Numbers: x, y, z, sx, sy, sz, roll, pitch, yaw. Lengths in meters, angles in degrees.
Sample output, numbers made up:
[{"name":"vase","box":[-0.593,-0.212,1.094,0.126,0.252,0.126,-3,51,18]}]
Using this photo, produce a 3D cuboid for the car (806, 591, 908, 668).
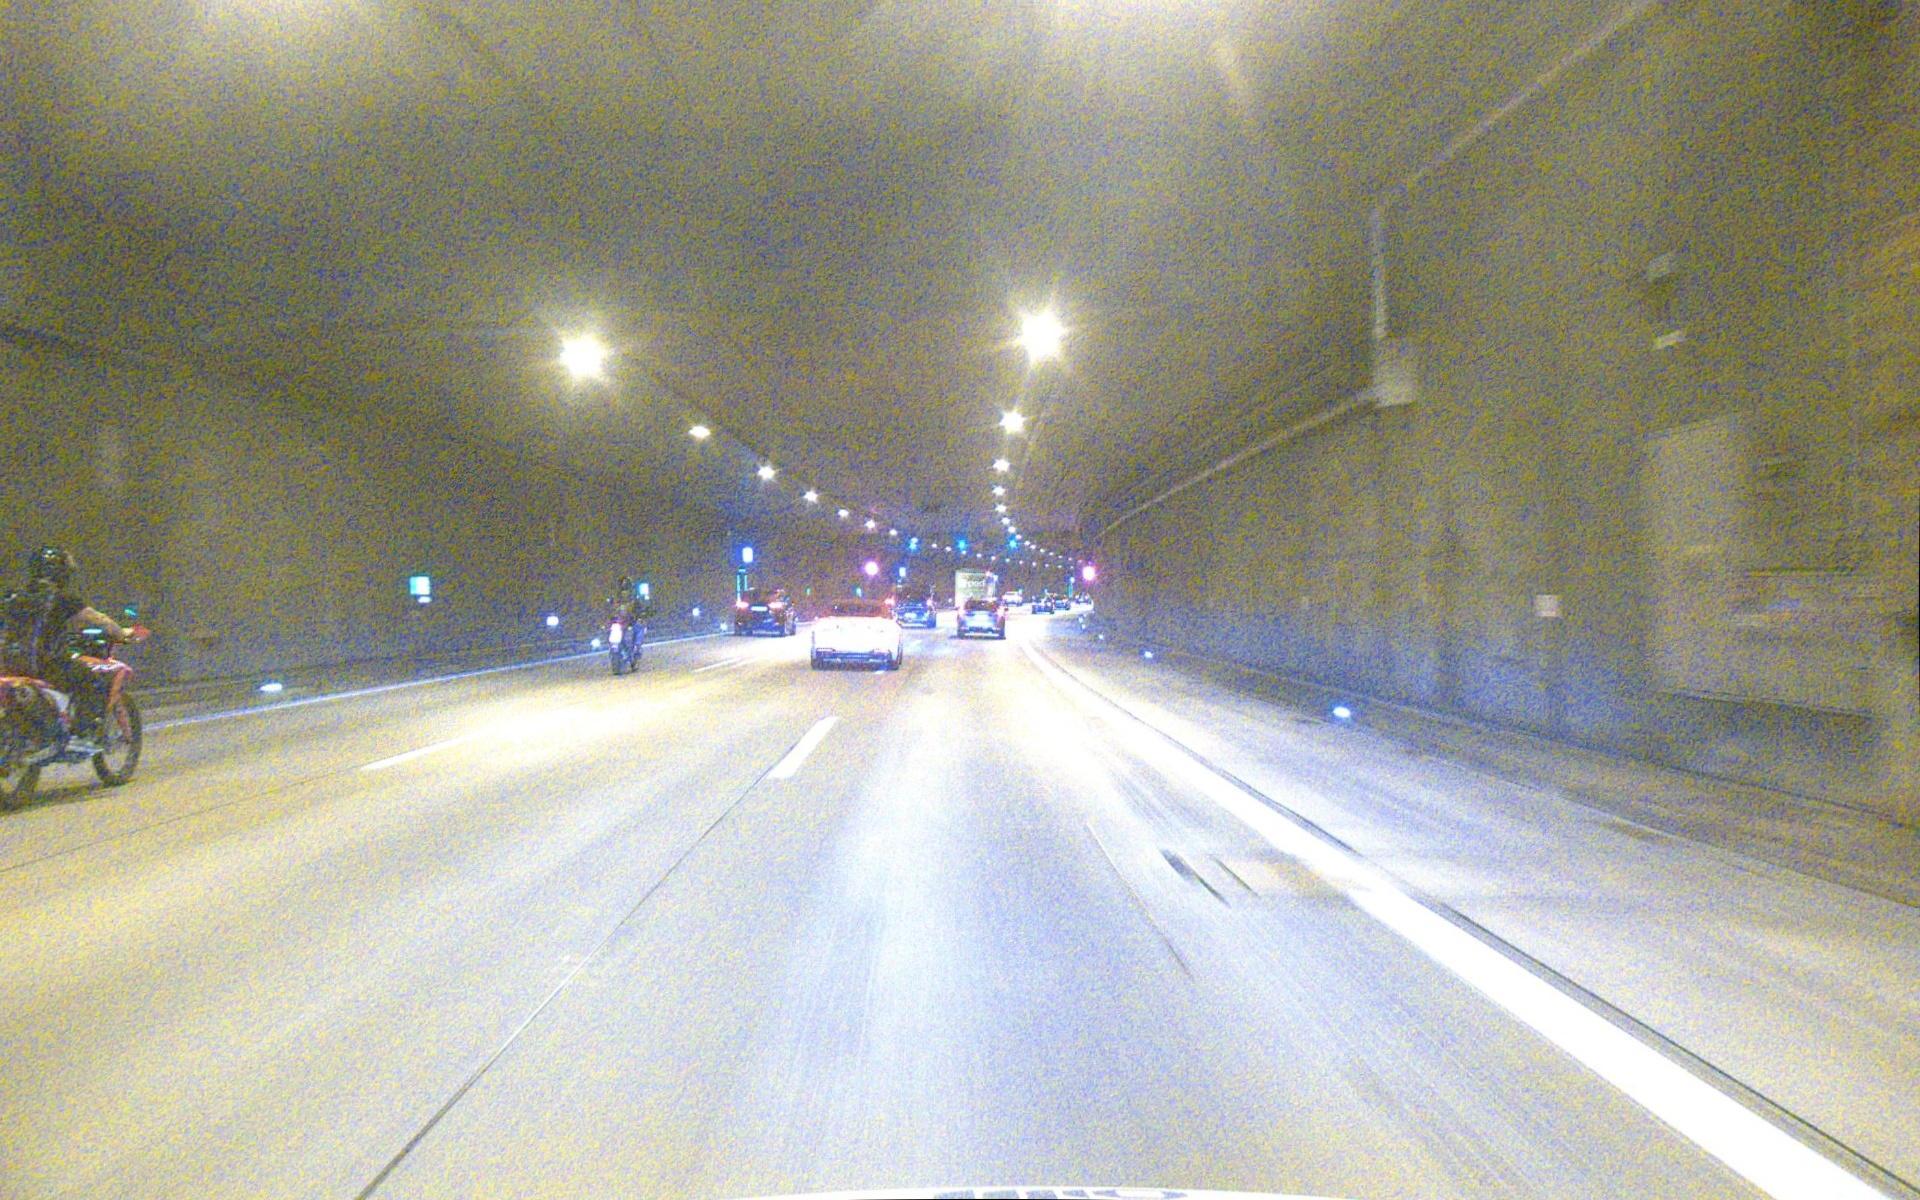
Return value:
[{"name":"car","box":[-2.091,0.575,34.538,1.953,1.509,3.999,0,0,-1]}]

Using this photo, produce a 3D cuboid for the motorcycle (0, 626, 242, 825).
[{"name":"motorcycle","box":[-6.154,0.800,11.555,1.031,1.177,2.429,0,0,5]}]

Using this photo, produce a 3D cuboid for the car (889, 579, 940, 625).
[{"name":"car","box":[-2.025,0.086,75.026,1.952,2.006,4.002,1,0,3]}]

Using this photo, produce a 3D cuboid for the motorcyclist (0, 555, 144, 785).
[{"name":"motorcyclist","box":[-6.187,0.461,11.385,0.613,1.515,0.891,-1,0,6]}]

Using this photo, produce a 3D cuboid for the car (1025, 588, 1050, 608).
[{"name":"car","box":[6.292,-0.170,134.662,1.806,1.595,4.001,-2,0,1]}]

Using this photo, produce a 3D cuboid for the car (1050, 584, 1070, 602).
[{"name":"car","box":[9.855,-0.688,163.225,1.820,1.695,4.002,-2,0,3]}]

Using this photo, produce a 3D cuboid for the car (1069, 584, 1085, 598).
[{"name":"car","box":[15.135,-1.140,214.510,1.795,1.720,4.001,-2,0,1]}]

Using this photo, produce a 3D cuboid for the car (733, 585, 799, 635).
[{"name":"car","box":[-6.611,0.321,56.660,1.749,1.626,3.801,0,0,0]}]

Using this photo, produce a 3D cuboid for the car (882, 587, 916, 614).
[{"name":"car","box":[-3.987,0.018,108.029,1.762,1.713,4.002,1,0,4]}]

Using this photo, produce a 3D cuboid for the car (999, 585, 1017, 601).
[{"name":"car","box":[5.255,-0.745,180.373,1.792,1.646,4.002,-2,0,3]}]

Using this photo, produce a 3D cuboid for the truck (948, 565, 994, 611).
[{"name":"truck","box":[0.883,-0.962,122.490,3.019,3.167,10.033,-3,1,2]}]

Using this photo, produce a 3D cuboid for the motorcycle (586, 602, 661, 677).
[{"name":"motorcycle","box":[-6.001,0.679,29.659,0.828,1.267,2.604,0,0,-1]}]

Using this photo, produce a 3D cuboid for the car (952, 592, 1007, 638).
[{"name":"car","box":[0.701,0.527,61.243,1.803,1.630,3.998,0,0,-2]}]

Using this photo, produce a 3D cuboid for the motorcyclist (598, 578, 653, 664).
[{"name":"motorcyclist","box":[-6.000,0.367,29.692,0.822,1.503,0.821,1,0,-2]}]
